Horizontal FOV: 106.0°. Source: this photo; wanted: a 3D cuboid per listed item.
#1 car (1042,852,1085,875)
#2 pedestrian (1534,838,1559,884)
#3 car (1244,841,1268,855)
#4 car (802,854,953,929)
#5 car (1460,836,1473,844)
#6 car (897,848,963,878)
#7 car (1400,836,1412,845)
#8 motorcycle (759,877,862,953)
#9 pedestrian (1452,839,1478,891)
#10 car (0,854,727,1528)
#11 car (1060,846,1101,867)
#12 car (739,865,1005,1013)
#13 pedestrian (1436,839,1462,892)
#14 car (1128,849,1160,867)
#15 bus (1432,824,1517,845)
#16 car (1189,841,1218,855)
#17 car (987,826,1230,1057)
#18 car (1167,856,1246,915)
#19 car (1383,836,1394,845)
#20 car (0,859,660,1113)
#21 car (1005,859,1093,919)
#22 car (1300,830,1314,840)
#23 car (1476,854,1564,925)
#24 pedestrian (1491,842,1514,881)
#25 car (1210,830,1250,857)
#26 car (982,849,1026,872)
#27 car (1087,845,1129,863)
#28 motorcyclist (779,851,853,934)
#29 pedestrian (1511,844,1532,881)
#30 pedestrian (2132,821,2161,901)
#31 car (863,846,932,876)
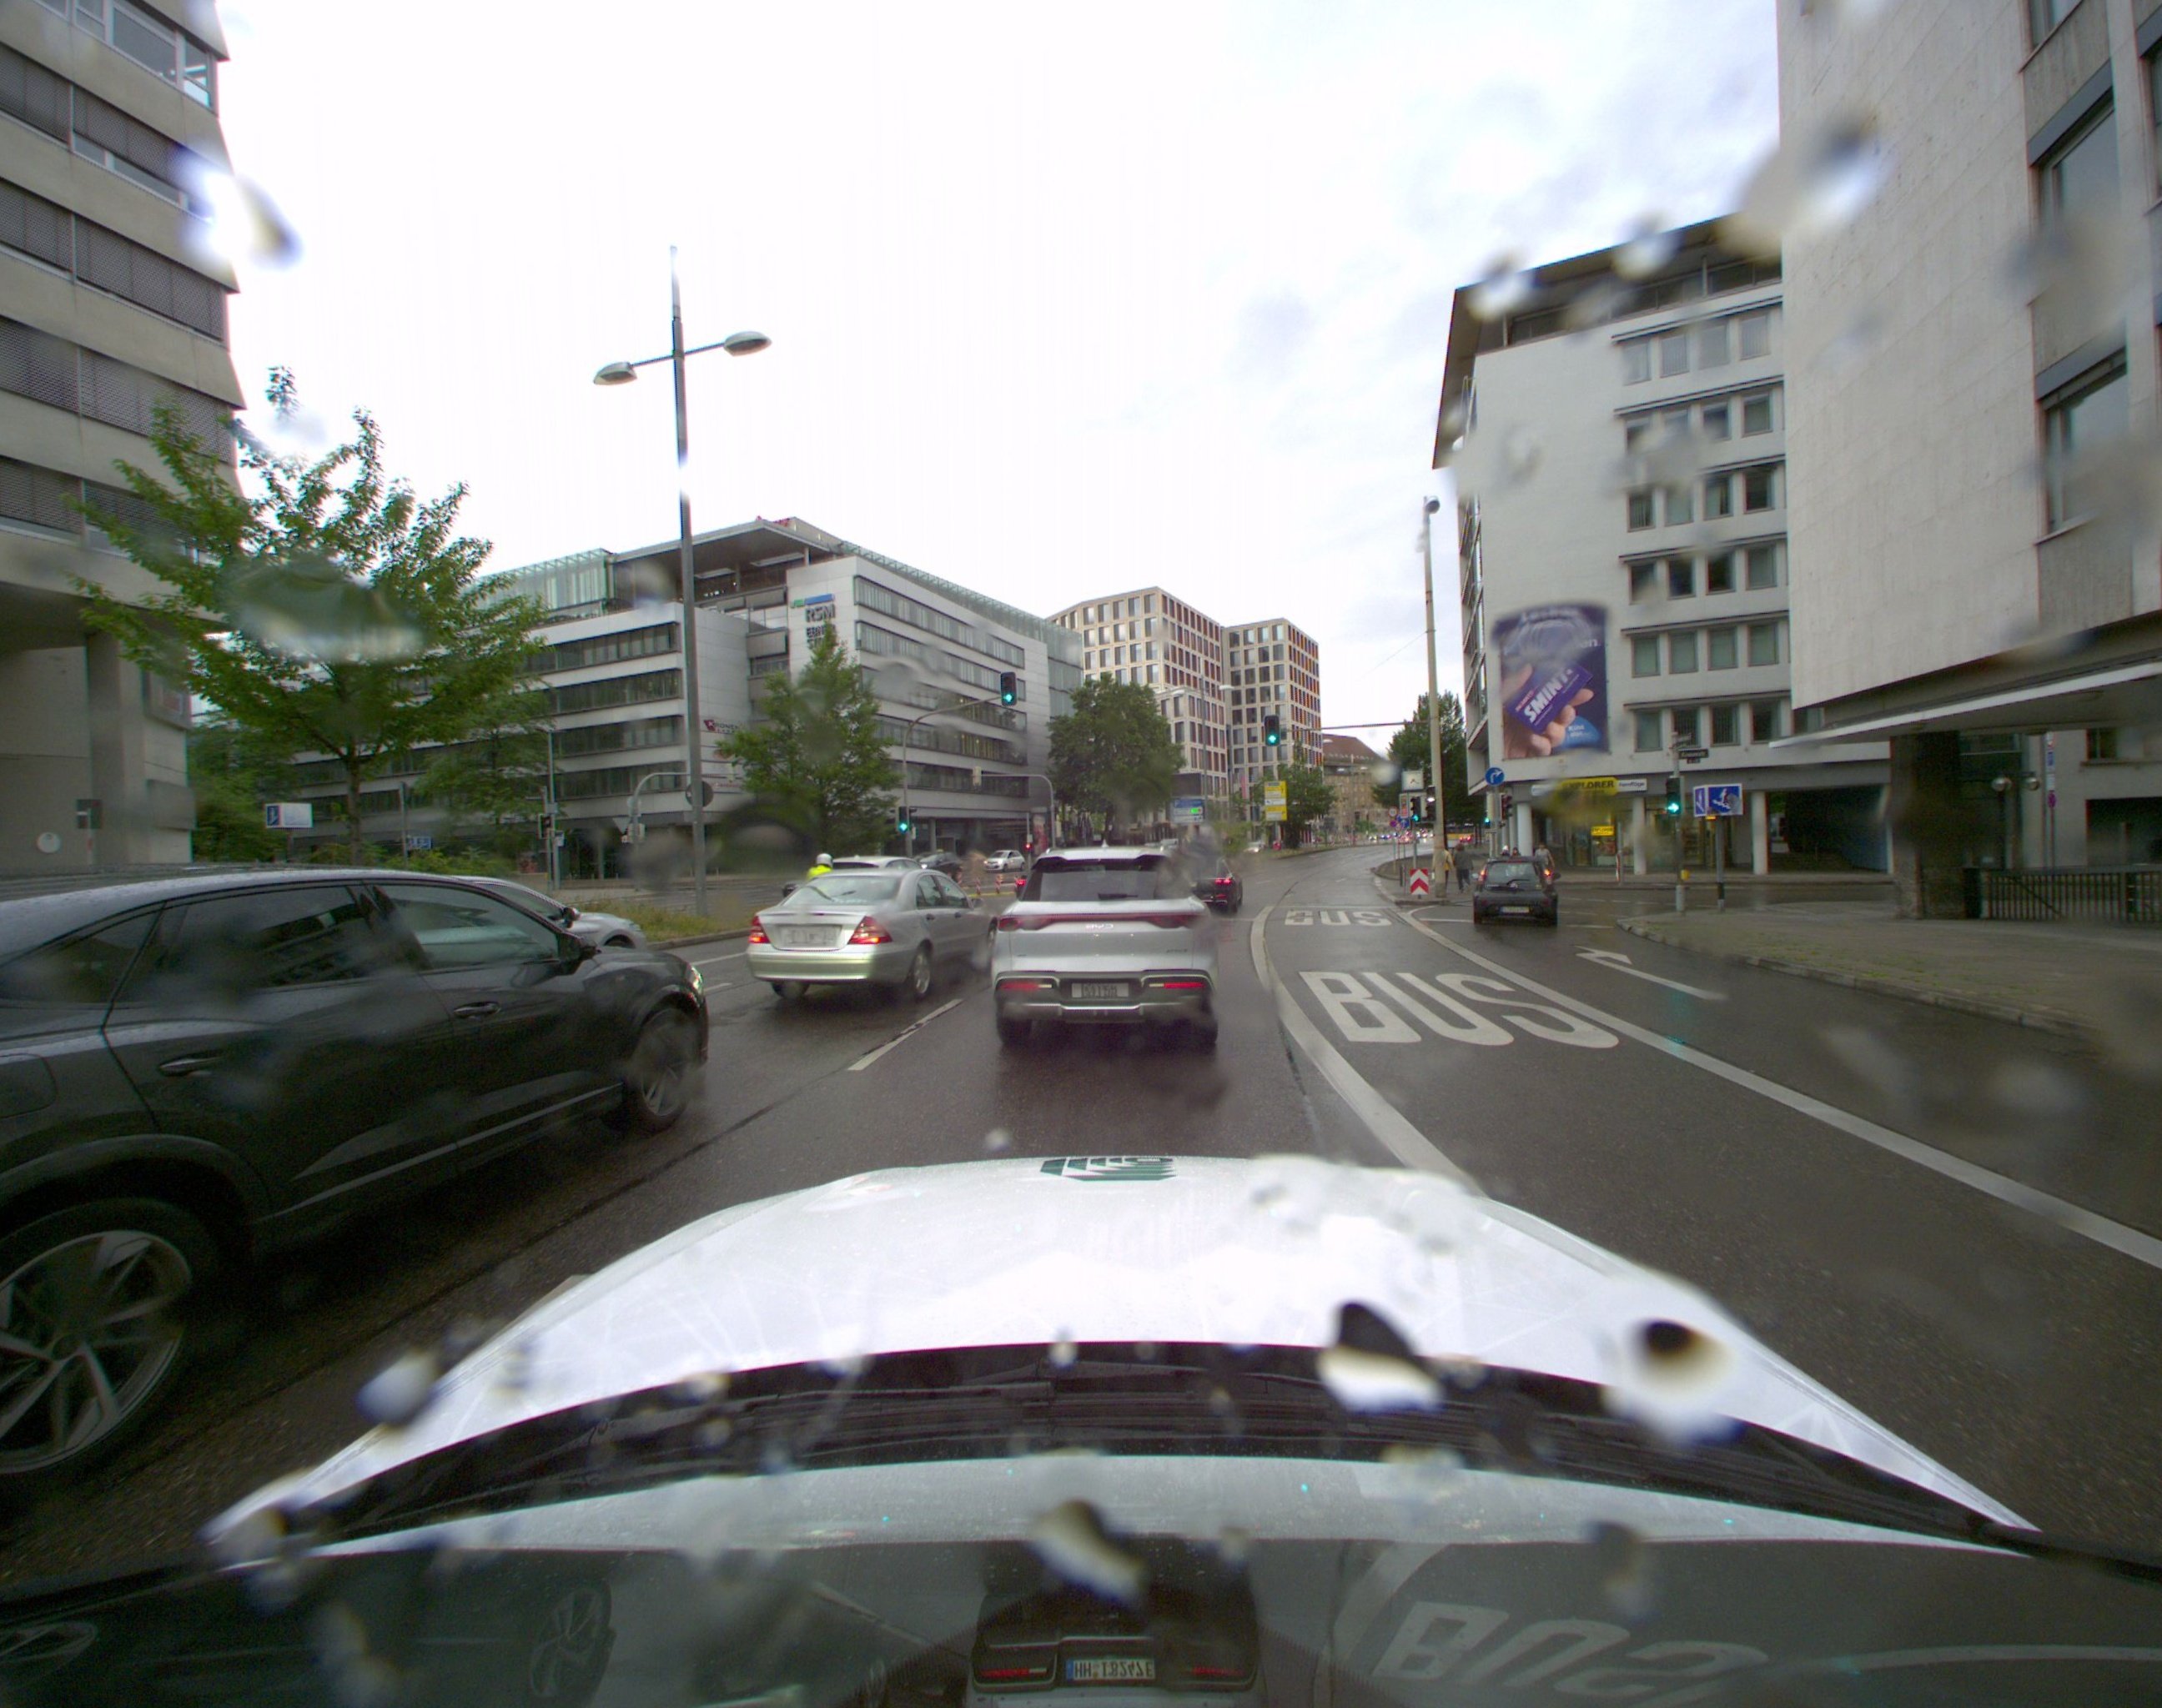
[{"bbox_3d":[-1.083,0.614,52.625,1.677,1.385,3.884,-1,-1,16],"label":"car"},{"bbox_3d":[18.573,0.262,32.510,0.662,1.794,0.778,-1,0,45],"label":"pedestrian"},{"bbox_3d":[18.922,-0.660,88.060,1.616,1.437,3.931,-2,1,25],"label":"car"},{"bbox_3d":[-4.405,0.779,18.291,1.696,1.486,4.012,-1,-1,11],"label":"car"},{"bbox_3d":[70.507,-2.539,148.787,1.677,1.486,4.025,-1,-1,32],"label":"car"},{"bbox_3d":[-7.998,0.458,43.554,1.630,1.536,4.172,-1,0,19],"label":"car"},{"bbox_3d":[60.226,-2.457,150.859,1.871,1.643,4.023,-1,0,24],"label":"car"},{"bbox_3d":[-4.631,1.010,14.115,0.795,1.185,2.034,-1,-1,11],"label":"motorcycle"},{"bbox_3d":[13.550,0.372,28.757,0.742,1.798,0.821,-2,0,22],"label":"pedestrian"},{"bbox_3d":[-3.234,0.778,3.230,1.642,1.521,4.274,-1,0,2],"label":"car"},{"bbox_3d":[0.019,0.161,62.546,1.629,1.581,4.108,-1,0,23],"label":"car"},{"bbox_3d":[-2.254,0.856,9.997,1.561,1.407,4.121,-1,-1,10],"label":"car"},{"bbox_3d":[12.655,0.389,28.049,0.742,1.798,0.821,-2,0,22],"label":"pedestrian"},{"bbox_3d":[6.329,0.389,81.179,1.616,1.559,4.620,-2,1,25],"label":"car"},{"bbox_3d":[87.389,-4.303,181.038,16.803,4.063,4.465,-1,-1,29],"label":"bus"},{"bbox_3d":[14.348,-0.708,95.039,1.974,1.488,4.025,-1,1,29],"label":"car"},{"bbox_3d":[0.330,0.666,7.979,1.768,1.679,4.004,-1,-1,4],"label":"car"},{"bbox_3d":[3.563,0.817,22.538,1.681,1.486,4.016,-1,-1,15],"label":"car"},{"bbox_3d":[76.622,-3.357,203.120,1.975,2.013,4.025,-1,0,29],"label":"car"},{"bbox_3d":[-6.298,0.843,7.536,1.855,1.533,4.787,-1,0,7],"label":"car"},{"bbox_3d":[-0.780,0.884,22.138,1.561,1.486,4.011,-1,-1,10],"label":"car"},{"bbox_3d":[45.072,-3.761,162.572,1.590,1.741,3.467,-1,-1,34],"label":"car"},{"bbox_3d":[9.826,0.729,18.350,1.556,1.429,4.024,-1,-1,27],"label":"car"},{"bbox_3d":[18.340,0.315,35.432,0.657,1.655,0.662,-1,0,-45],"label":"pedestrian"},{"bbox_3d":[11.893,-0.783,64.679,1.975,2.014,4.876,-1,-1,25],"label":"car"},{"bbox_3d":[-5.535,0.483,59.028,1.624,1.571,3.738,-1,-1,21],"label":"car"},{"bbox_3d":[2.573,-0.030,74.856,1.796,1.510,5.227,-1,1,26],"label":"car"},{"bbox_3d":[-4.608,0.651,14.235,0.765,1.380,1.122,-1,-1,11],"label":"motorcyclist"},{"bbox_3d":[18.944,0.369,35.048,0.618,1.543,0.657,-1,0,45],"label":"pedestrian"},{"bbox_3d":[24.024,0.145,17.989,0.764,1.731,0.599,-1,0,16],"label":"pedestrian"},{"bbox_3d":[-10.688,0.376,47.613,1.976,1.610,4.022,1,1,22],"label":"car"}]
